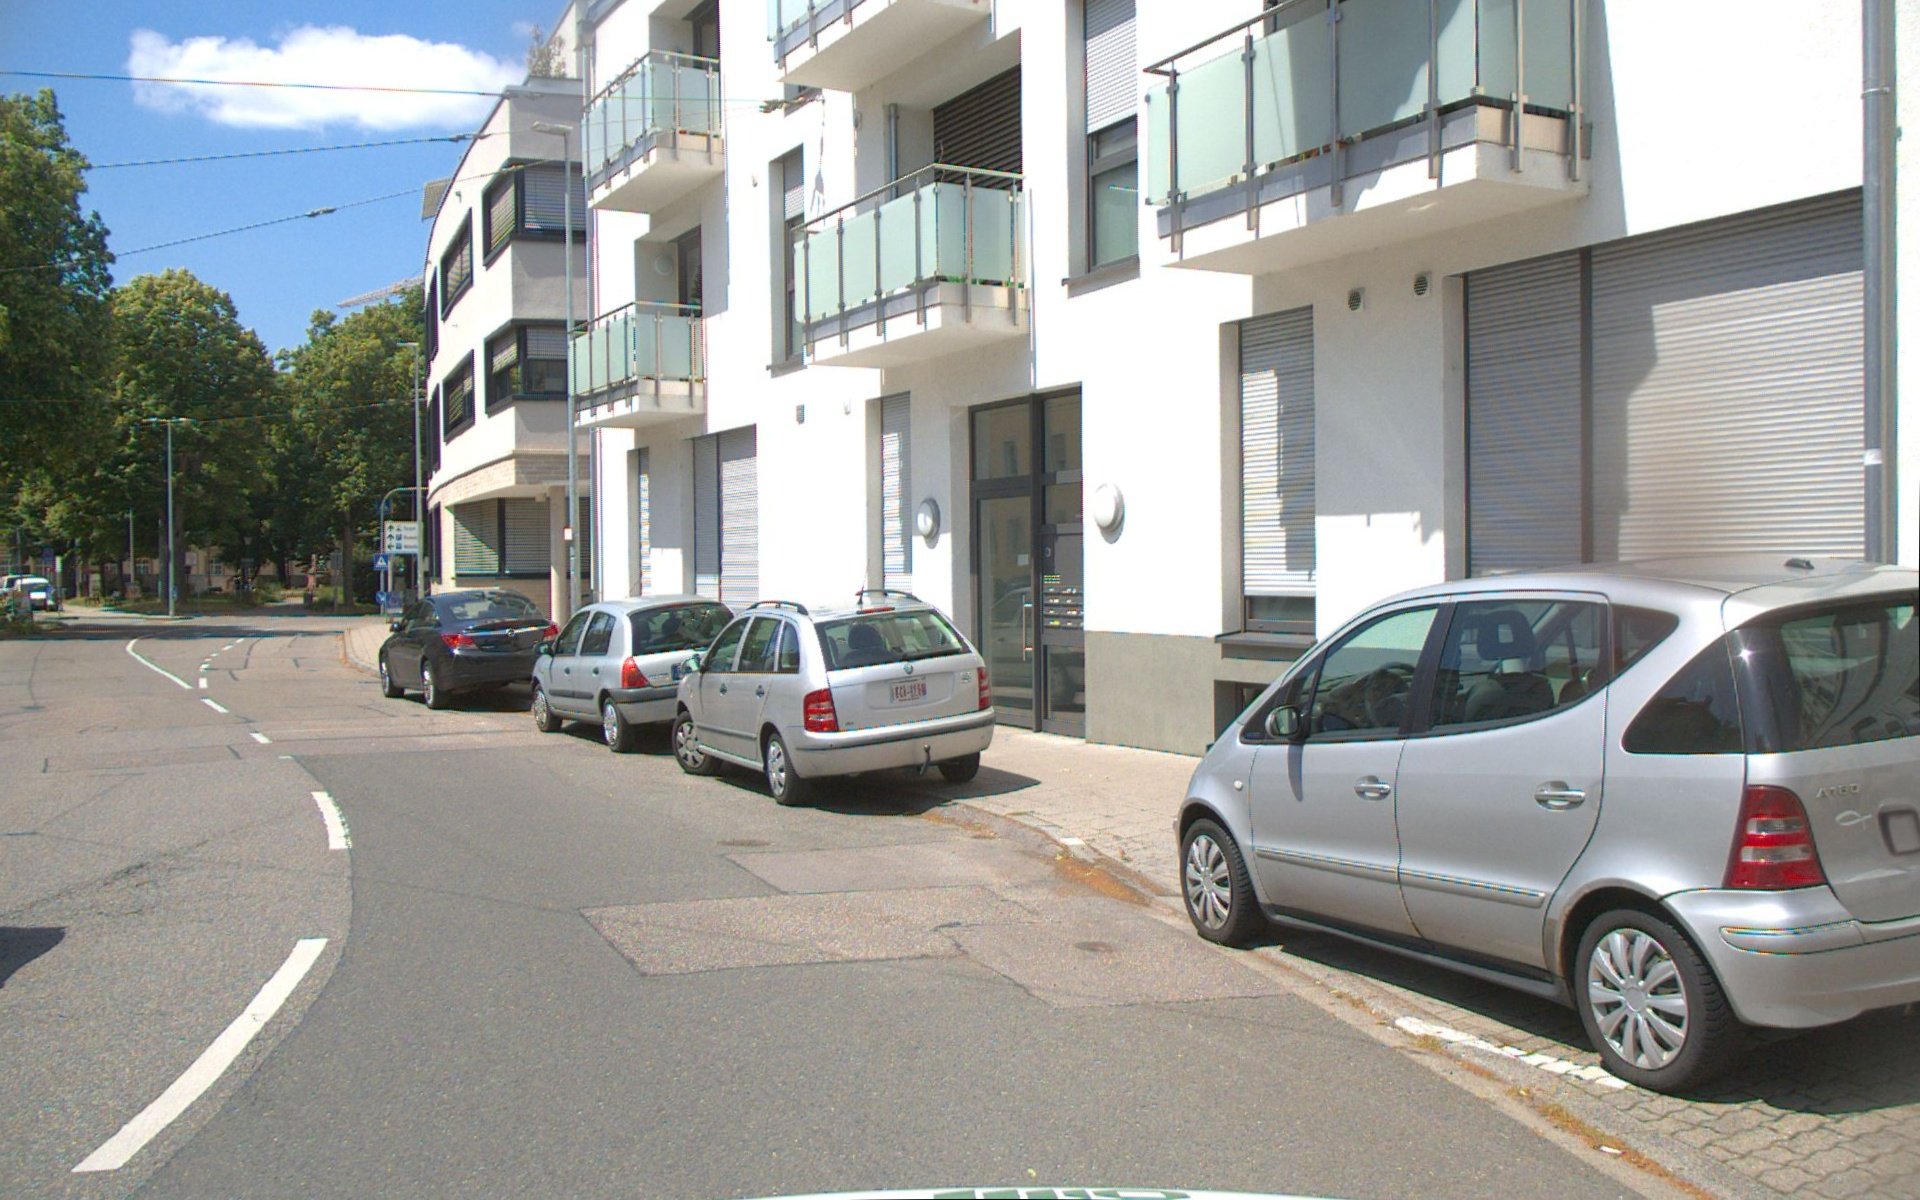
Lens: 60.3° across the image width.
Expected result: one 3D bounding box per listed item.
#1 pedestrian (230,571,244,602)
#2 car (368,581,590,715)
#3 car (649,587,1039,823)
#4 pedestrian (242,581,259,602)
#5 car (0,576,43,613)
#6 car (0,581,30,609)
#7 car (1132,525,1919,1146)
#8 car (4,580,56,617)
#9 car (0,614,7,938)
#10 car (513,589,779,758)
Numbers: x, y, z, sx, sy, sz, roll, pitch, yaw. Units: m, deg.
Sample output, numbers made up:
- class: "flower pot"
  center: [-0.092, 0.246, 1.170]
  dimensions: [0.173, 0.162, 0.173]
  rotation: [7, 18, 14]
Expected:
- class: "pedestrian"
  center: [-45.419, -0.842, 103.850]
  dimensions: [0.737, 1.944, 0.680]
  rotation: [0, 2, -20]
- class: "car"
  center: [-6.818, 0.603, 23.112]
  dimensions: [1.783, 1.535, 4.498]
  rotation: [-5, 3, -31]
- class: "car"
  center: [-1.103, 0.694, 13.343]
  dimensions: [1.706, 1.457, 4.009]
  rotation: [-5, 3, -26]
- class: "pedestrian"
  center: [-44.657, -0.526, 104.166]
  dimensions: [0.892, 1.273, 1.142]
  rotation: [0, 2, -20]
- class: "car"
  center: [-53.349, -0.337, 93.746]
  dimensions: [2.031, 2.037, 5.188]
  rotation: [-1, 1, -34]
- class: "car"
  center: [-57.439, -0.321, 100.036]
  dimensions: [1.767, 1.652, 4.433]
  rotation: [-1, 1, -34]
- class: "car"
  center: [2.369, 0.601, 6.517]
  dimensions: [1.704, 1.638, 3.773]
  rotation: [-4, 1, -23]
- class: "car"
  center: [-48.765, -0.115, 86.687]
  dimensions: [1.977, 1.858, 4.367]
  rotation: [-1, 1, -35]
- class: "car"
  center: [-4.881, 0.829, 5.670]
  dimensions: [1.743, 1.489, 3.734]
  rotation: [-1, 0, -13]
- class: "car"
  center: [-3.411, 0.691, 17.482]
  dimensions: [1.576, 1.457, 3.669]
  rotation: [-5, 3, -30]
